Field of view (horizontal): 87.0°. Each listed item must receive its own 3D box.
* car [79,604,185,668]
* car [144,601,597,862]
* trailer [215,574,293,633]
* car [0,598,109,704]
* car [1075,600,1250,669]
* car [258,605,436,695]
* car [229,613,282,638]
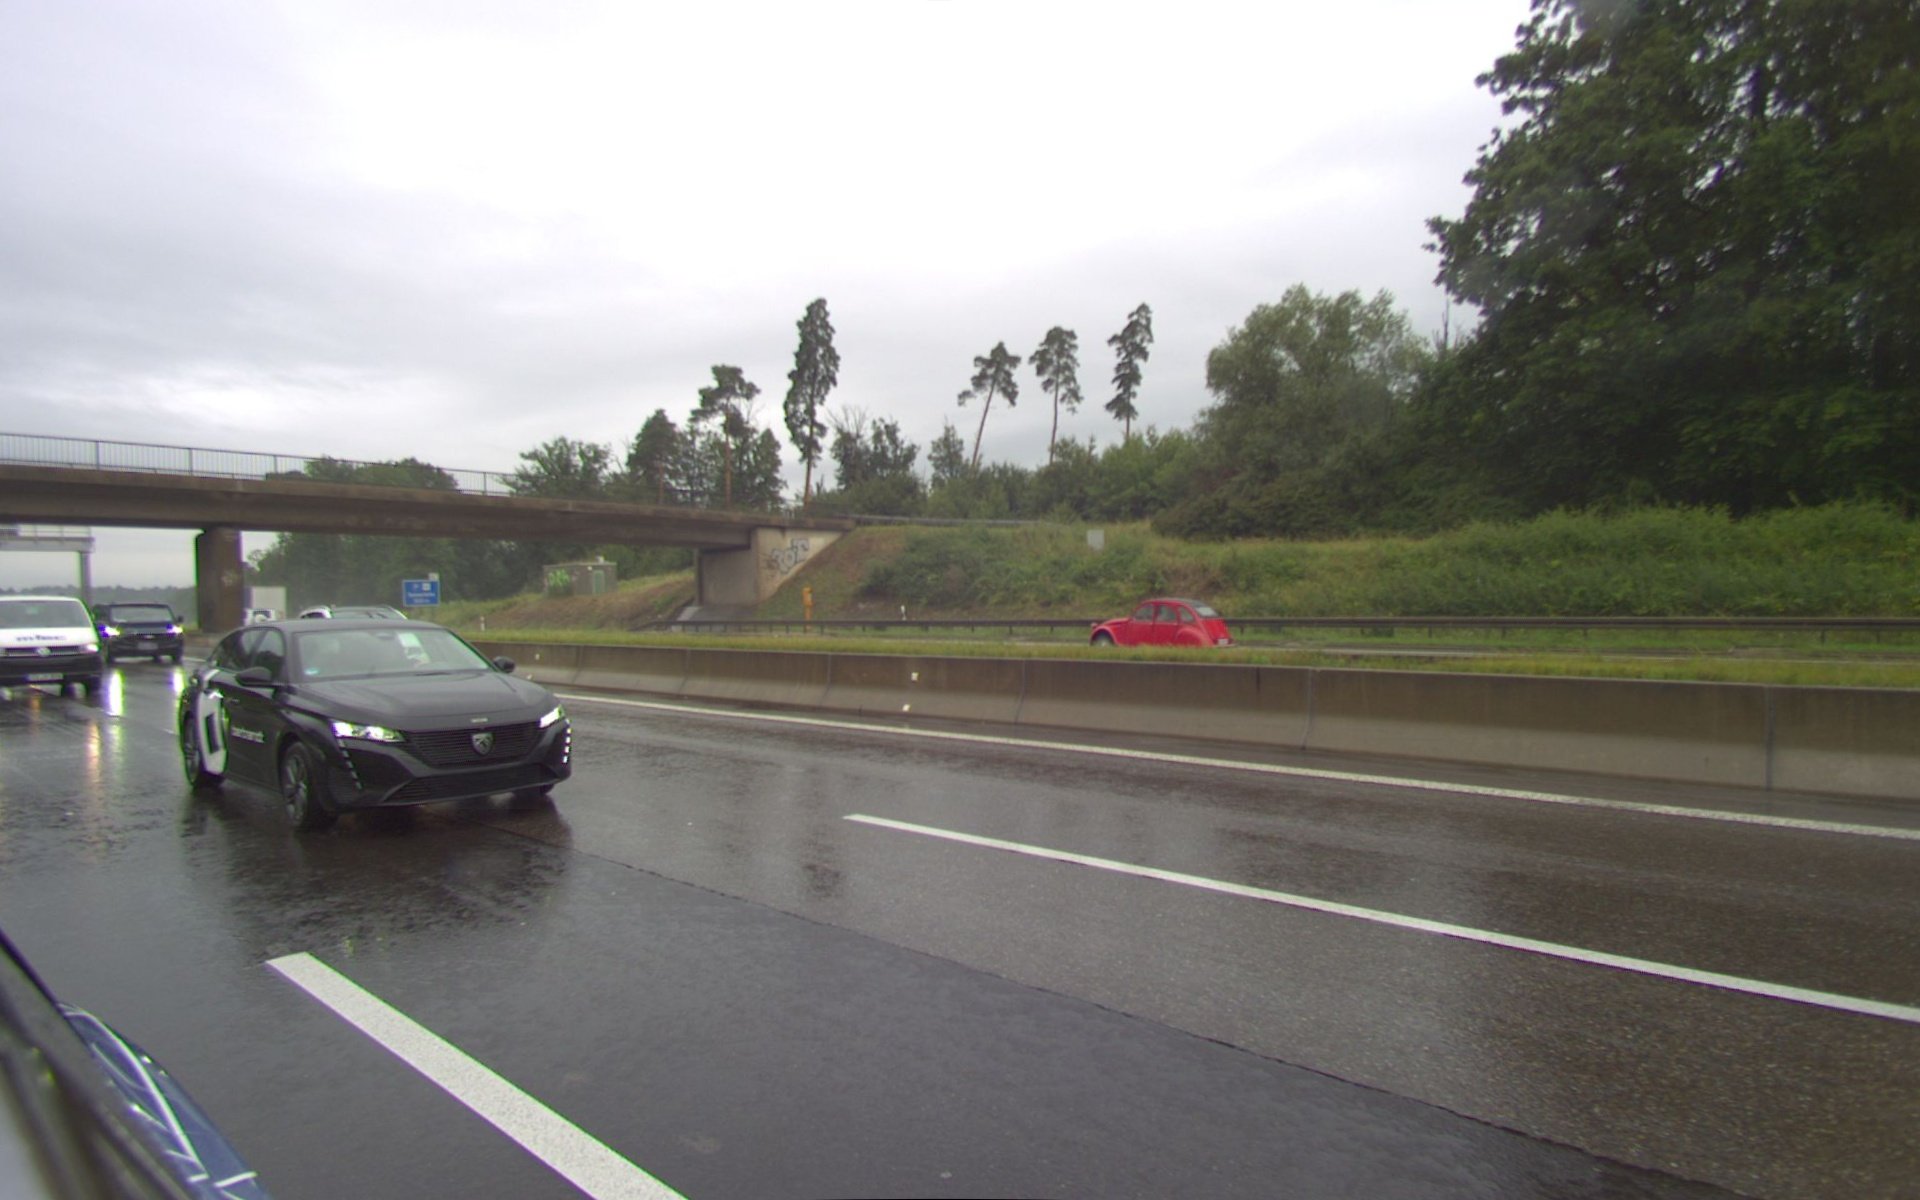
[{"bbox_3d":[-27.605,1.150,33.673,5.241,1.958,1.970,-1,0,42],"label":"car"},{"bbox_3d":[-4.907,0.812,8.123,4.464,1.516,1.826,-1,0,41],"label":"car"},{"bbox_3d":[-62.959,0.388,90.014,13.349,4.850,3.170,-1,0,44],"label":"trailer"},{"bbox_3d":[-18.603,0.956,20.061,4.765,1.894,1.969,-1,0,41],"label":"car"},{"bbox_3d":[5.070,0.838,25.604,3.942,1.603,1.826,-1,0,41],"label":"car"},{"bbox_3d":[-12.467,0.941,20.461,4.464,1.603,1.826,-1,0,41],"label":"car"},{"bbox_3d":[-47.613,1.736,68.353,4.464,1.603,1.909,-1,0,41],"label":"car"}]
